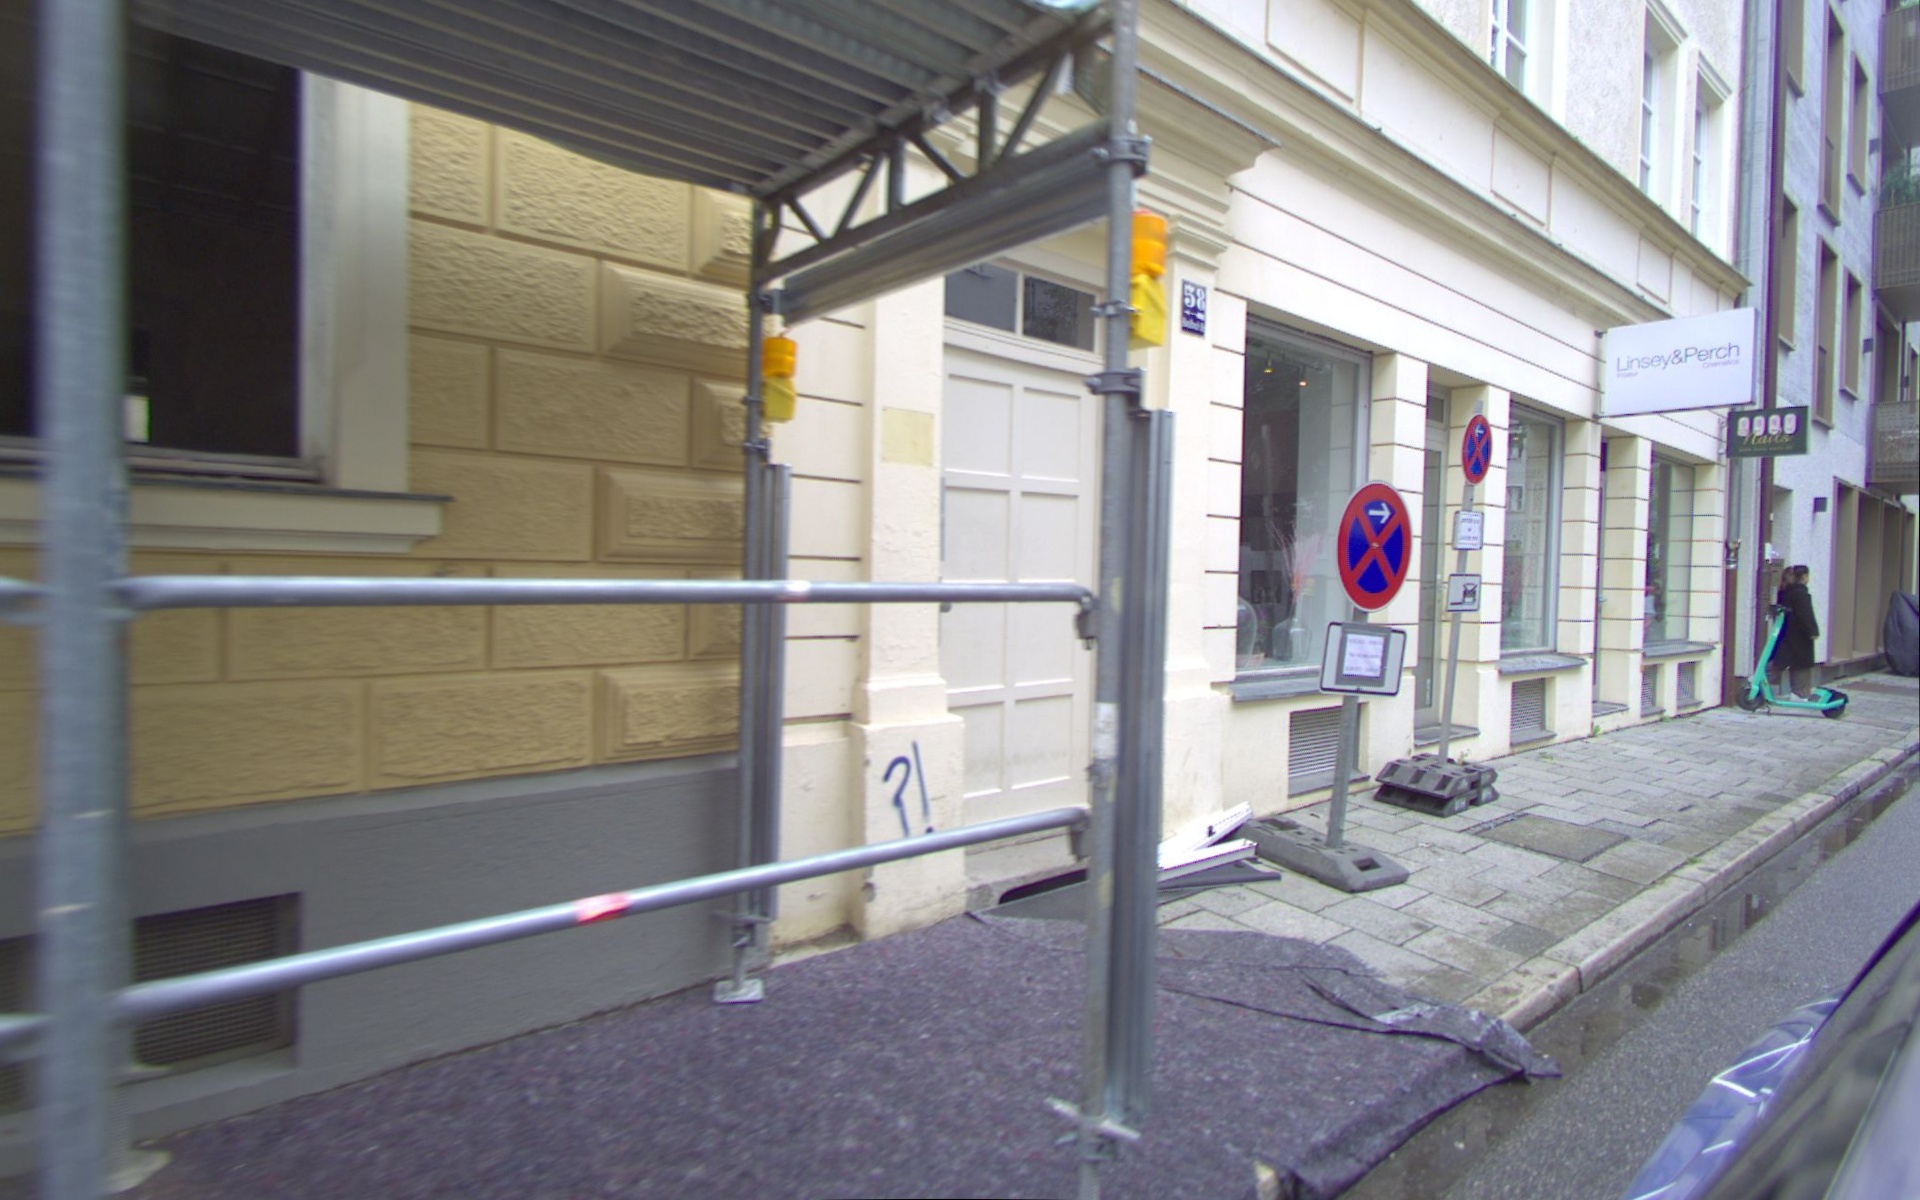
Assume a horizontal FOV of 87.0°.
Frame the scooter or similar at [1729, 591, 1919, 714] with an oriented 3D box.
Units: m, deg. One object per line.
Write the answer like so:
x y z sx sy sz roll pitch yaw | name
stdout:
9.426 0.561 11.034 1.578 1.197 0.495 3 3 1 | scooter or similar

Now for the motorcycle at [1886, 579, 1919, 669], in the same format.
16.516 0.412 17.146 1.897 1.439 0.807 0 7 -39 | motorcycle

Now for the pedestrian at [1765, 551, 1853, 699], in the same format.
10.205 0.277 12.189 0.540 1.707 0.656 3 3 22 | pedestrian
